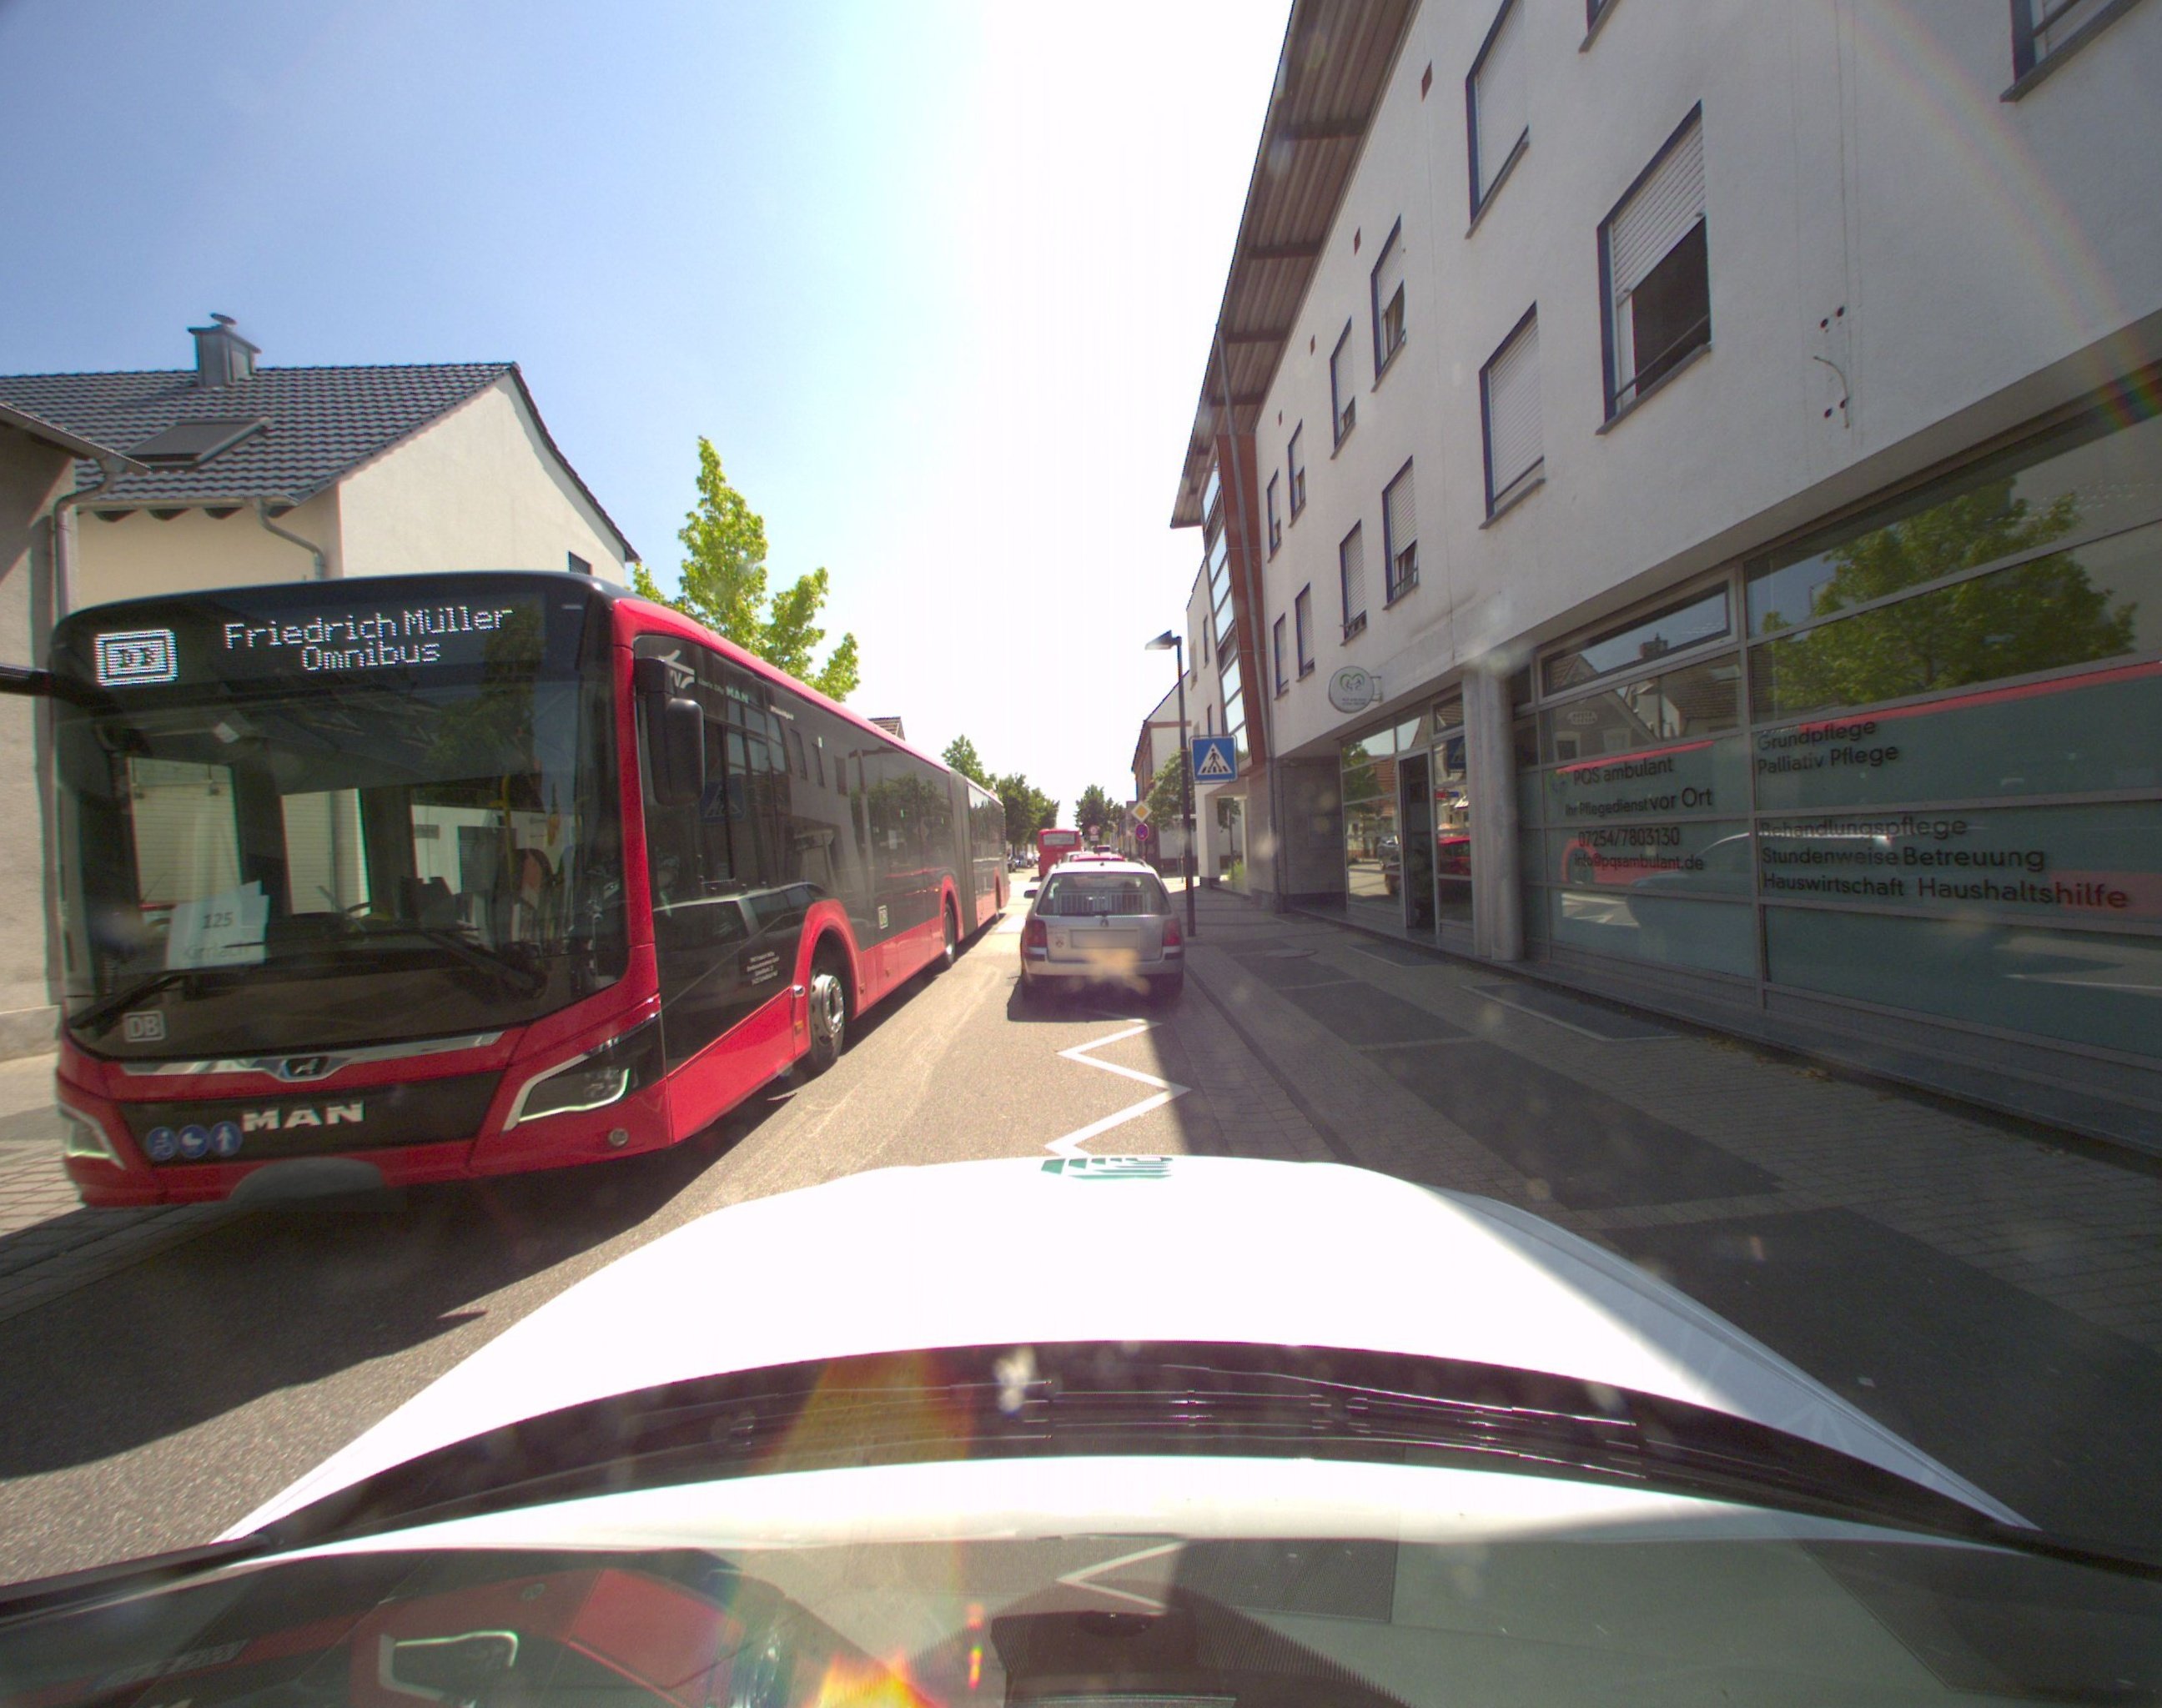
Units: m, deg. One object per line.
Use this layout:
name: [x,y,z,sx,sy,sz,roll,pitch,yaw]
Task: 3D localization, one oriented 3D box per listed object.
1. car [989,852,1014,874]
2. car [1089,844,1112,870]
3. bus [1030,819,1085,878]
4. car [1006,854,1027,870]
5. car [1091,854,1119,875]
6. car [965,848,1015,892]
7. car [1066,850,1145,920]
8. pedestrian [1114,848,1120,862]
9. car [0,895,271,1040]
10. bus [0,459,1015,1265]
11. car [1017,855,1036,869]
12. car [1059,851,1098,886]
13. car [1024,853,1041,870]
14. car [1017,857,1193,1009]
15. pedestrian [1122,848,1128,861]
car: [-6.965,0.770,71.627,1.759,1.838,3.788,-3,0,0]
car: [1.684,0.270,70.736,1.782,2.082,3.625,-3,0,0]
bus: [-1.717,-0.291,52.902,2.736,3.298,12.682,-2,0,-5]
car: [-6.767,0.878,86.289,1.805,1.559,3.999,-3,0,0]
car: [1.599,0.688,55.612,1.714,1.309,3.625,-3,0,0]
car: [-3.911,0.664,35.525,1.670,1.716,4.231,-3,0,-1]
car: [0.551,0.676,19.694,1.671,1.430,3.679,-3,0,0]
pedestrian: [4.482,0.088,101.002,0.604,1.667,0.789,-3,0,-1]
car: [-12.100,1.329,9.700,3.109,1.443,1.584,-3,0,-5]
bus: [-3.118,0.008,12.189,2.660,3.123,17.803,-3,0,0]
car: [-6.218,0.892,93.081,1.805,1.559,3.999,-3,0,0]
car: [-0.064,0.607,36.161,1.588,1.430,3.680,-1,0,1]
car: [-6.260,0.970,105.509,1.805,1.995,3.999,-3,0,0]
car: [0.241,0.762,9.604,1.671,1.430,3.679,0,0,0]
pedestrian: [5.488,0.063,101.118,0.604,1.667,0.789,-3,0,-1]
